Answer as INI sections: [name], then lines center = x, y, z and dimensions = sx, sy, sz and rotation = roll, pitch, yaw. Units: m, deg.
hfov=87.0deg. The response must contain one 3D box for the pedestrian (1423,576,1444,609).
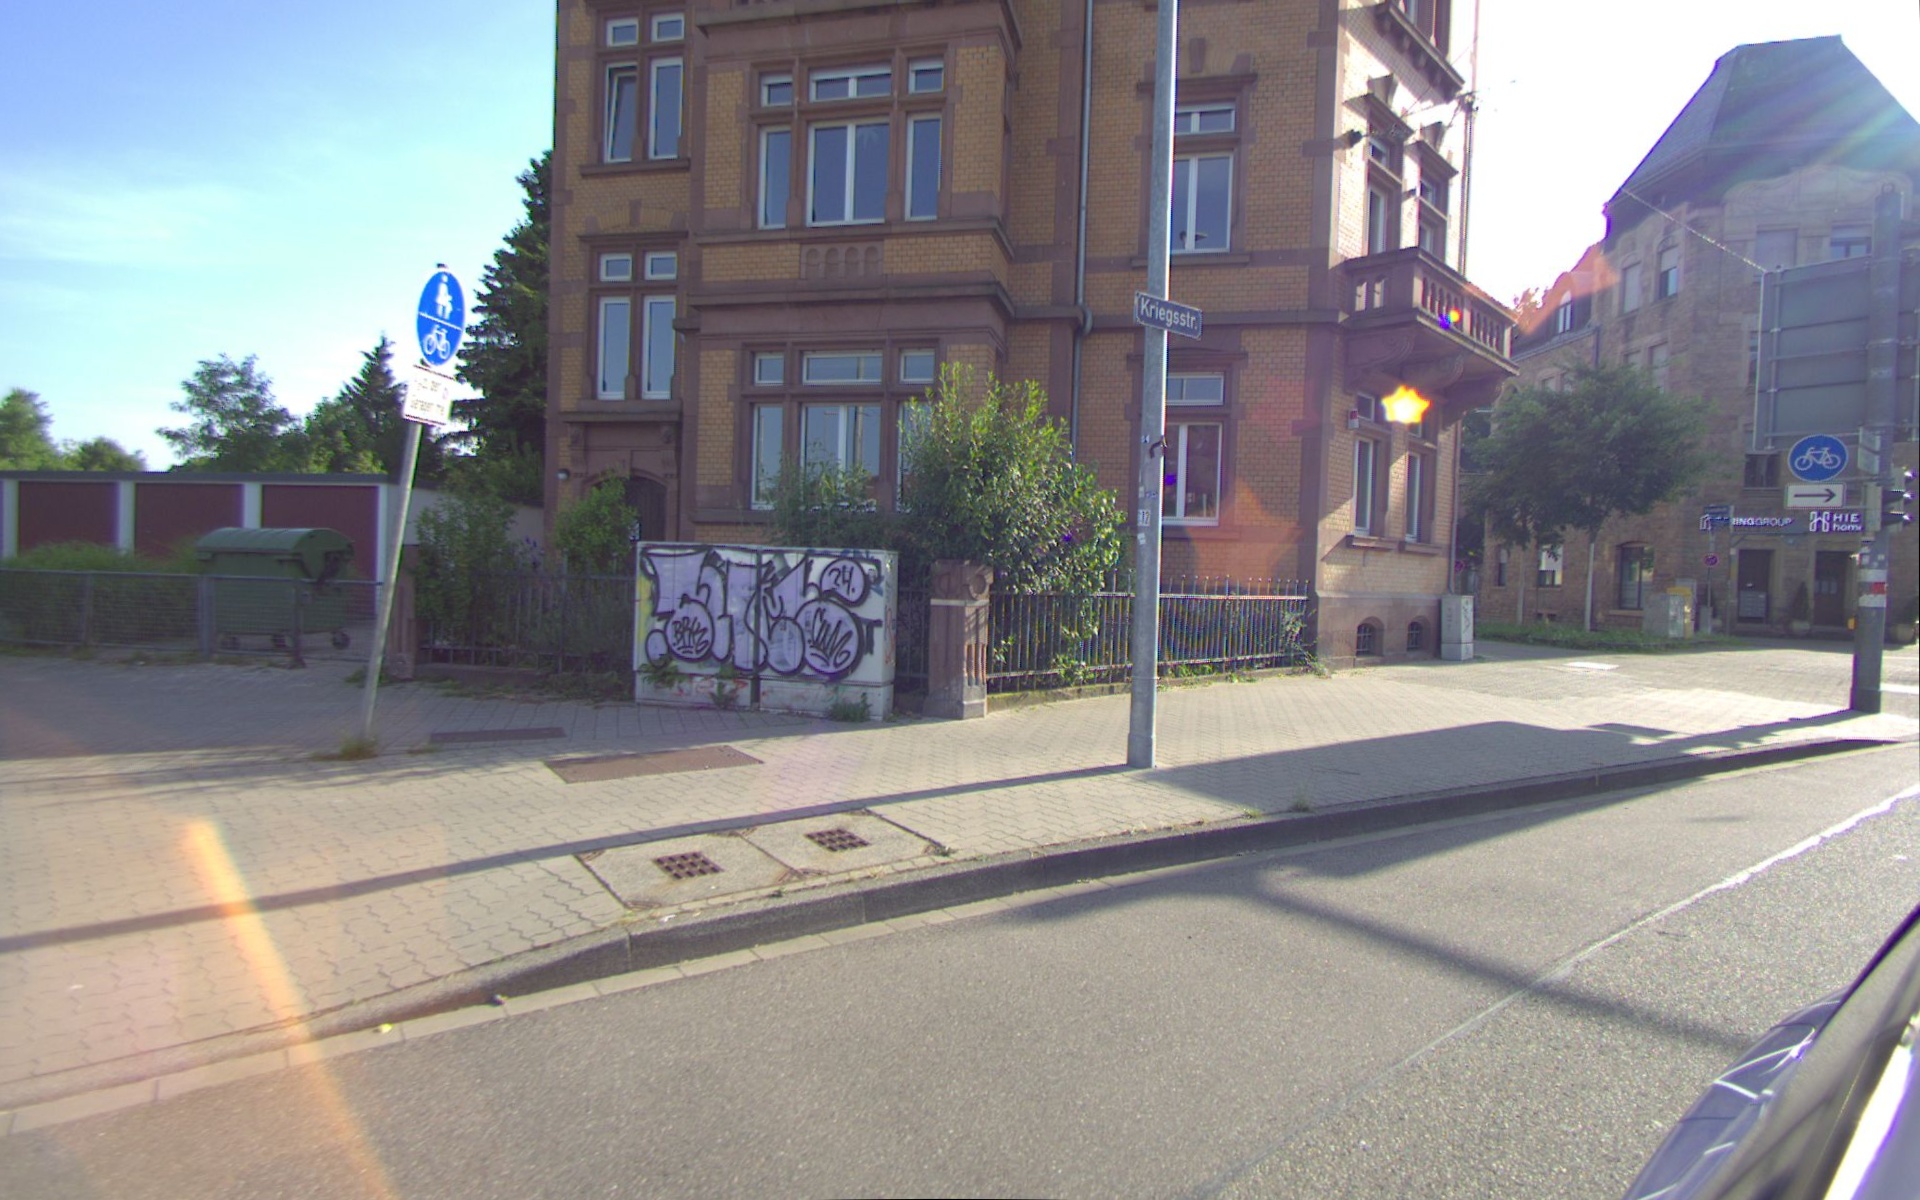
[pedestrian]
center = 24.798, -0.390, 53.020
dimensions = 0.749, 1.696, 0.783
rotation = 1, 0, 3
